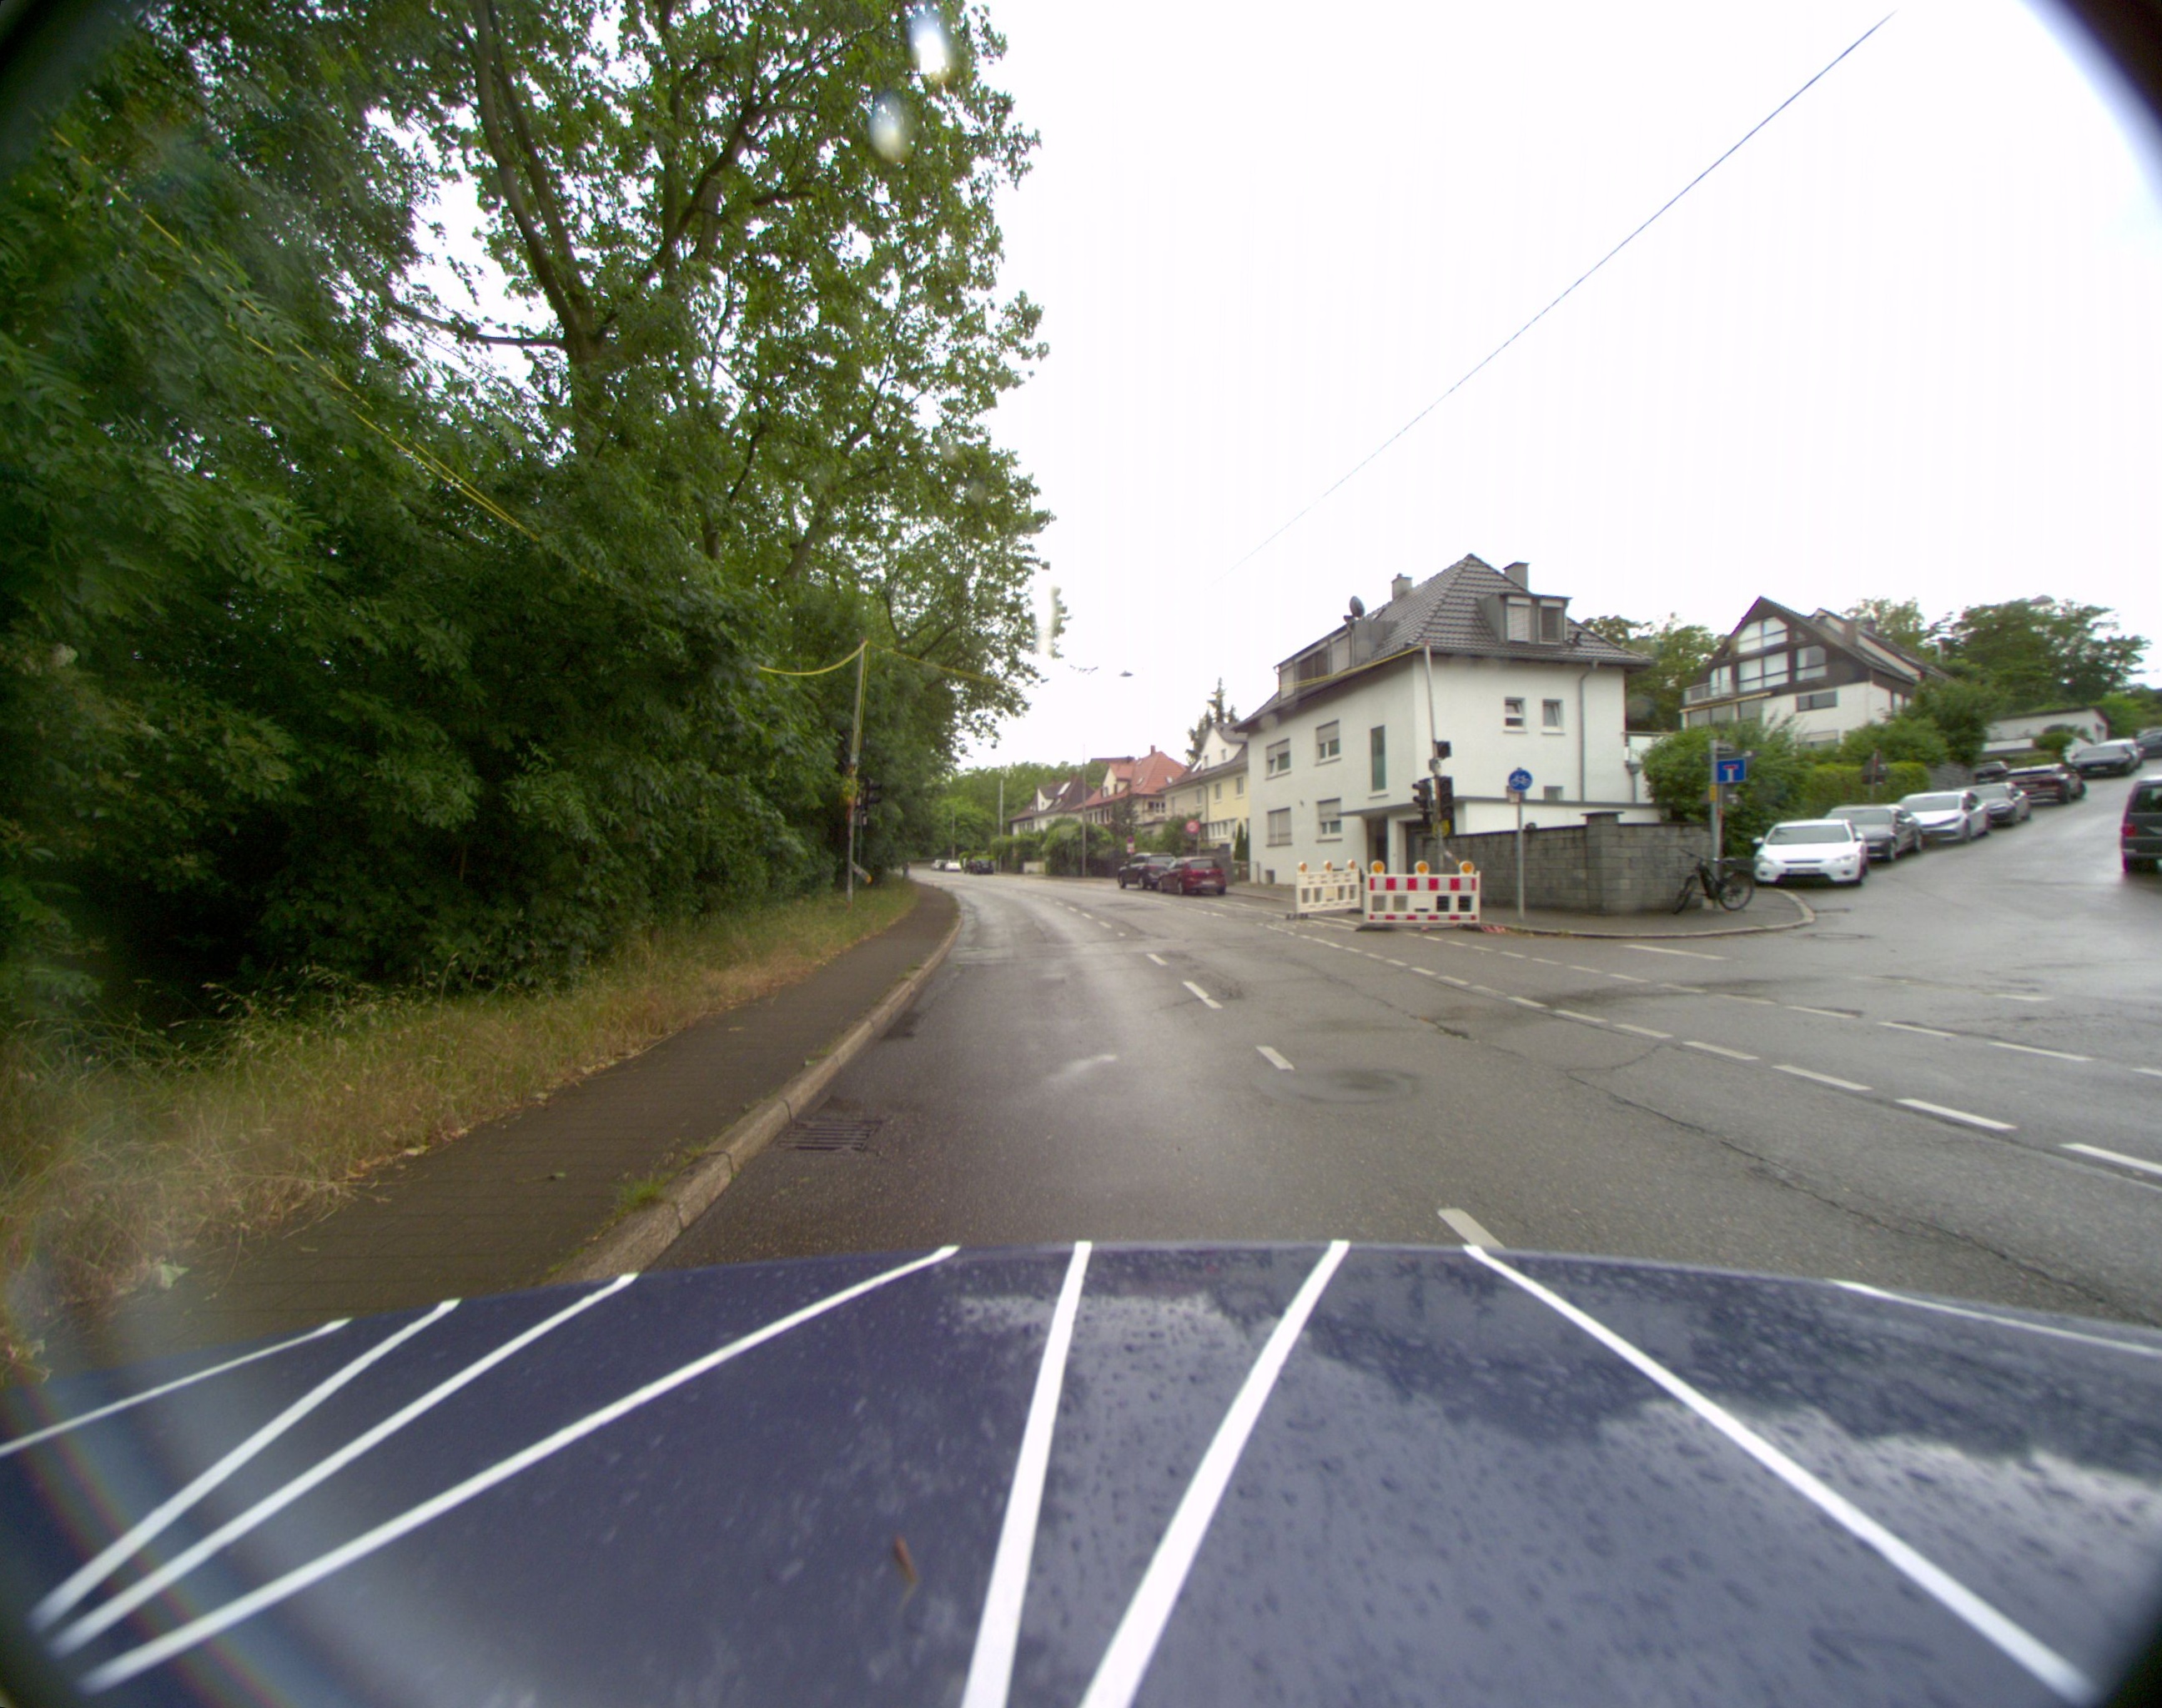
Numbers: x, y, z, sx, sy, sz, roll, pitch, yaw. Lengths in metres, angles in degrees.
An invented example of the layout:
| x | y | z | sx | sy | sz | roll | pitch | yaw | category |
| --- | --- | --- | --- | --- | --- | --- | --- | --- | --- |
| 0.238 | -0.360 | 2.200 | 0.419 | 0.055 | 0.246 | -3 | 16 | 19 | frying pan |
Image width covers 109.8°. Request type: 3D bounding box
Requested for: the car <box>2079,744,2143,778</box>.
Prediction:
| x | y | z | sx | sy | sz | roll | pitch | yaw | category |
| --- | --- | --- | --- | --- | --- | --- | --- | --- | --- |
| 59.102 | -5.290 | 43.591 | 4.005 | 1.711 | 1.886 | -4 | 3 | -32 | car |

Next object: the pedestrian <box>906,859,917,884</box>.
| x | y | z | sx | sy | sz | roll | pitch | yaw | category |
| --- | --- | --- | --- | --- | --- | --- | --- | --- | --- |
| -11.328 | 1.170 | 50.696 | 0.644 | 1.602 | 0.668 | -1 | 2 | -19 | pedestrian |

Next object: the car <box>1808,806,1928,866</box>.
| x | y | z | sx | sy | sz | roll | pitch | yaw | category |
| --- | --- | --- | --- | --- | --- | --- | --- | --- | --- |
| 22.683 | -0.543 | 21.864 | 4.006 | 1.458 | 1.886 | -4 | 3 | -36 | car |

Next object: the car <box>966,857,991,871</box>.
| x | y | z | sx | sy | sz | roll | pitch | yaw | category |
| --- | --- | --- | --- | --- | --- | --- | --- | --- | --- |
| -10.722 | 1.010 | 79.203 | 1.695 | 1.410 | 4.208 | 1 | -1 | -21 | car |

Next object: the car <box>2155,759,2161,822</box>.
| x | y | z | sx | sy | sz | roll | pitch | yaw | category |
| --- | --- | --- | --- | --- | --- | --- | --- | --- | --- |
| 33.035 | -1.967 | 22.104 | 4.005 | 1.736 | 1.864 | -7 | 4 | -32 | car |

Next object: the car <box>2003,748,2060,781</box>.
| x | y | z | sx | sy | sz | roll | pitch | yaw | category |
| --- | --- | --- | --- | --- | --- | --- | --- | --- | --- |
| 57.390 | -5.373 | 45.953 | 4.007 | 1.711 | 1.886 | -5 | 3 | -42 | car |

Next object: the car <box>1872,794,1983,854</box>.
| x | y | z | sx | sy | sz | roll | pitch | yaw | category |
| --- | --- | --- | --- | --- | --- | --- | --- | --- | --- |
| 27.031 | -0.977 | 24.236 | 4.006 | 1.711 | 1.886 | -4 | 3 | -35 | car |

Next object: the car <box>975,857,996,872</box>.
| x | y | z | sx | sy | sz | roll | pitch | yaw | category |
| --- | --- | --- | --- | --- | --- | --- | --- | --- | --- |
| -9.513 | 1.007 | 75.523 | 1.525 | 1.445 | 3.025 | 1 | -1 | -18 | car |

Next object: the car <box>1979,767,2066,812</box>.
| x | y | z | sx | sy | sz | roll | pitch | yaw | category |
| --- | --- | --- | --- | --- | --- | --- | --- | --- | --- |
| 40.051 | -2.732 | 32.315 | 4.005 | 1.711 | 1.886 | -4 | 3 | -32 | car |

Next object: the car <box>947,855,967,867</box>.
| x | y | z | sx | sy | sz | roll | pitch | yaw | category |
| --- | --- | --- | --- | --- | --- | --- | --- | --- | --- |
| -15.324 | 0.886 | 93.793 | 1.705 | 1.459 | 3.704 | -1 | 0 | -20 | car |

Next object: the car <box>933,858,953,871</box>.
| x | y | z | sx | sy | sz | roll | pitch | yaw | category |
| --- | --- | --- | --- | --- | --- | --- | --- | --- | --- |
| -18.750 | 1.409 | 103.025 | 1.740 | 1.414 | 4.273 | -5 | 4 | -22 | car |

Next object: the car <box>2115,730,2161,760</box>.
| x | y | z | sx | sy | sz | roll | pitch | yaw | category |
| --- | --- | --- | --- | --- | --- | --- | --- | --- | --- |
| 68.445 | -6.949 | 47.693 | 1.894 | 1.711 | 3.990 | -4 | 3 | -30 | car |

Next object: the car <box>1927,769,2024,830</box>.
| x | y | z | sx | sy | sz | roll | pitch | yaw | category |
| --- | --- | --- | --- | --- | --- | --- | --- | --- | --- |
| 32.116 | -1.969 | 27.255 | 4.006 | 1.981 | 1.886 | -4 | 3 | -35 | car |

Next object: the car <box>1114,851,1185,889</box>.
| x | y | z | sx | sy | sz | roll | pitch | yaw | category |
| --- | --- | --- | --- | --- | --- | --- | --- | --- | --- |
| 3.047 | 0.730 | 35.014 | 1.761 | 1.648 | 4.399 | 1 | -1 | -16 | car |

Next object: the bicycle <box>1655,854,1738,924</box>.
| x | y | z | sx | sy | sz | roll | pitch | yaw | category |
| --- | --- | --- | --- | --- | --- | --- | --- | --- | --- |
| 11.137 | 0.614 | 13.744 | 1.520 | 1.118 | 0.463 | -4 | 3 | -21 | bicycle |

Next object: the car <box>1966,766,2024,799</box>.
| x | y | z | sx | sy | sz | roll | pitch | yaw | category |
| --- | --- | --- | --- | --- | --- | --- | --- | --- | --- |
| 51.863 | -4.040 | 43.180 | 4.007 | 1.711 | 1.886 | -5 | 3 | -42 | car |

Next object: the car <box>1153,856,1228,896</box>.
| x | y | z | sx | sy | sz | roll | pitch | yaw | category |
| --- | --- | --- | --- | --- | --- | --- | --- | --- | --- |
| 4.234 | 0.816 | 30.065 | 1.622 | 1.432 | 4.226 | -1 | 0 | -10 | car |

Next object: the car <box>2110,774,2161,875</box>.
| x | y | z | sx | sy | sz | roll | pitch | yaw | category |
| --- | --- | --- | --- | --- | --- | --- | --- | --- | --- |
| 23.690 | -0.710 | 16.082 | 4.005 | 1.909 | 1.995 | -7 | 4 | -32 | car |

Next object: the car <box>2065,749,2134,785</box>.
| x | y | z | sx | sy | sz | roll | pitch | yaw | category |
| --- | --- | --- | --- | --- | --- | --- | --- | --- | --- |
| 54.085 | -4.601 | 40.335 | 4.005 | 1.711 | 1.886 | -4 | 3 | -32 | car |

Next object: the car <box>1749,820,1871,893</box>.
| x | y | z | sx | sy | sz | roll | pitch | yaw | category |
| --- | --- | --- | --- | --- | --- | --- | --- | --- | --- |
| 17.697 | -0.003 | 18.390 | 4.007 | 1.458 | 1.886 | -5 | 3 | -42 | car |
